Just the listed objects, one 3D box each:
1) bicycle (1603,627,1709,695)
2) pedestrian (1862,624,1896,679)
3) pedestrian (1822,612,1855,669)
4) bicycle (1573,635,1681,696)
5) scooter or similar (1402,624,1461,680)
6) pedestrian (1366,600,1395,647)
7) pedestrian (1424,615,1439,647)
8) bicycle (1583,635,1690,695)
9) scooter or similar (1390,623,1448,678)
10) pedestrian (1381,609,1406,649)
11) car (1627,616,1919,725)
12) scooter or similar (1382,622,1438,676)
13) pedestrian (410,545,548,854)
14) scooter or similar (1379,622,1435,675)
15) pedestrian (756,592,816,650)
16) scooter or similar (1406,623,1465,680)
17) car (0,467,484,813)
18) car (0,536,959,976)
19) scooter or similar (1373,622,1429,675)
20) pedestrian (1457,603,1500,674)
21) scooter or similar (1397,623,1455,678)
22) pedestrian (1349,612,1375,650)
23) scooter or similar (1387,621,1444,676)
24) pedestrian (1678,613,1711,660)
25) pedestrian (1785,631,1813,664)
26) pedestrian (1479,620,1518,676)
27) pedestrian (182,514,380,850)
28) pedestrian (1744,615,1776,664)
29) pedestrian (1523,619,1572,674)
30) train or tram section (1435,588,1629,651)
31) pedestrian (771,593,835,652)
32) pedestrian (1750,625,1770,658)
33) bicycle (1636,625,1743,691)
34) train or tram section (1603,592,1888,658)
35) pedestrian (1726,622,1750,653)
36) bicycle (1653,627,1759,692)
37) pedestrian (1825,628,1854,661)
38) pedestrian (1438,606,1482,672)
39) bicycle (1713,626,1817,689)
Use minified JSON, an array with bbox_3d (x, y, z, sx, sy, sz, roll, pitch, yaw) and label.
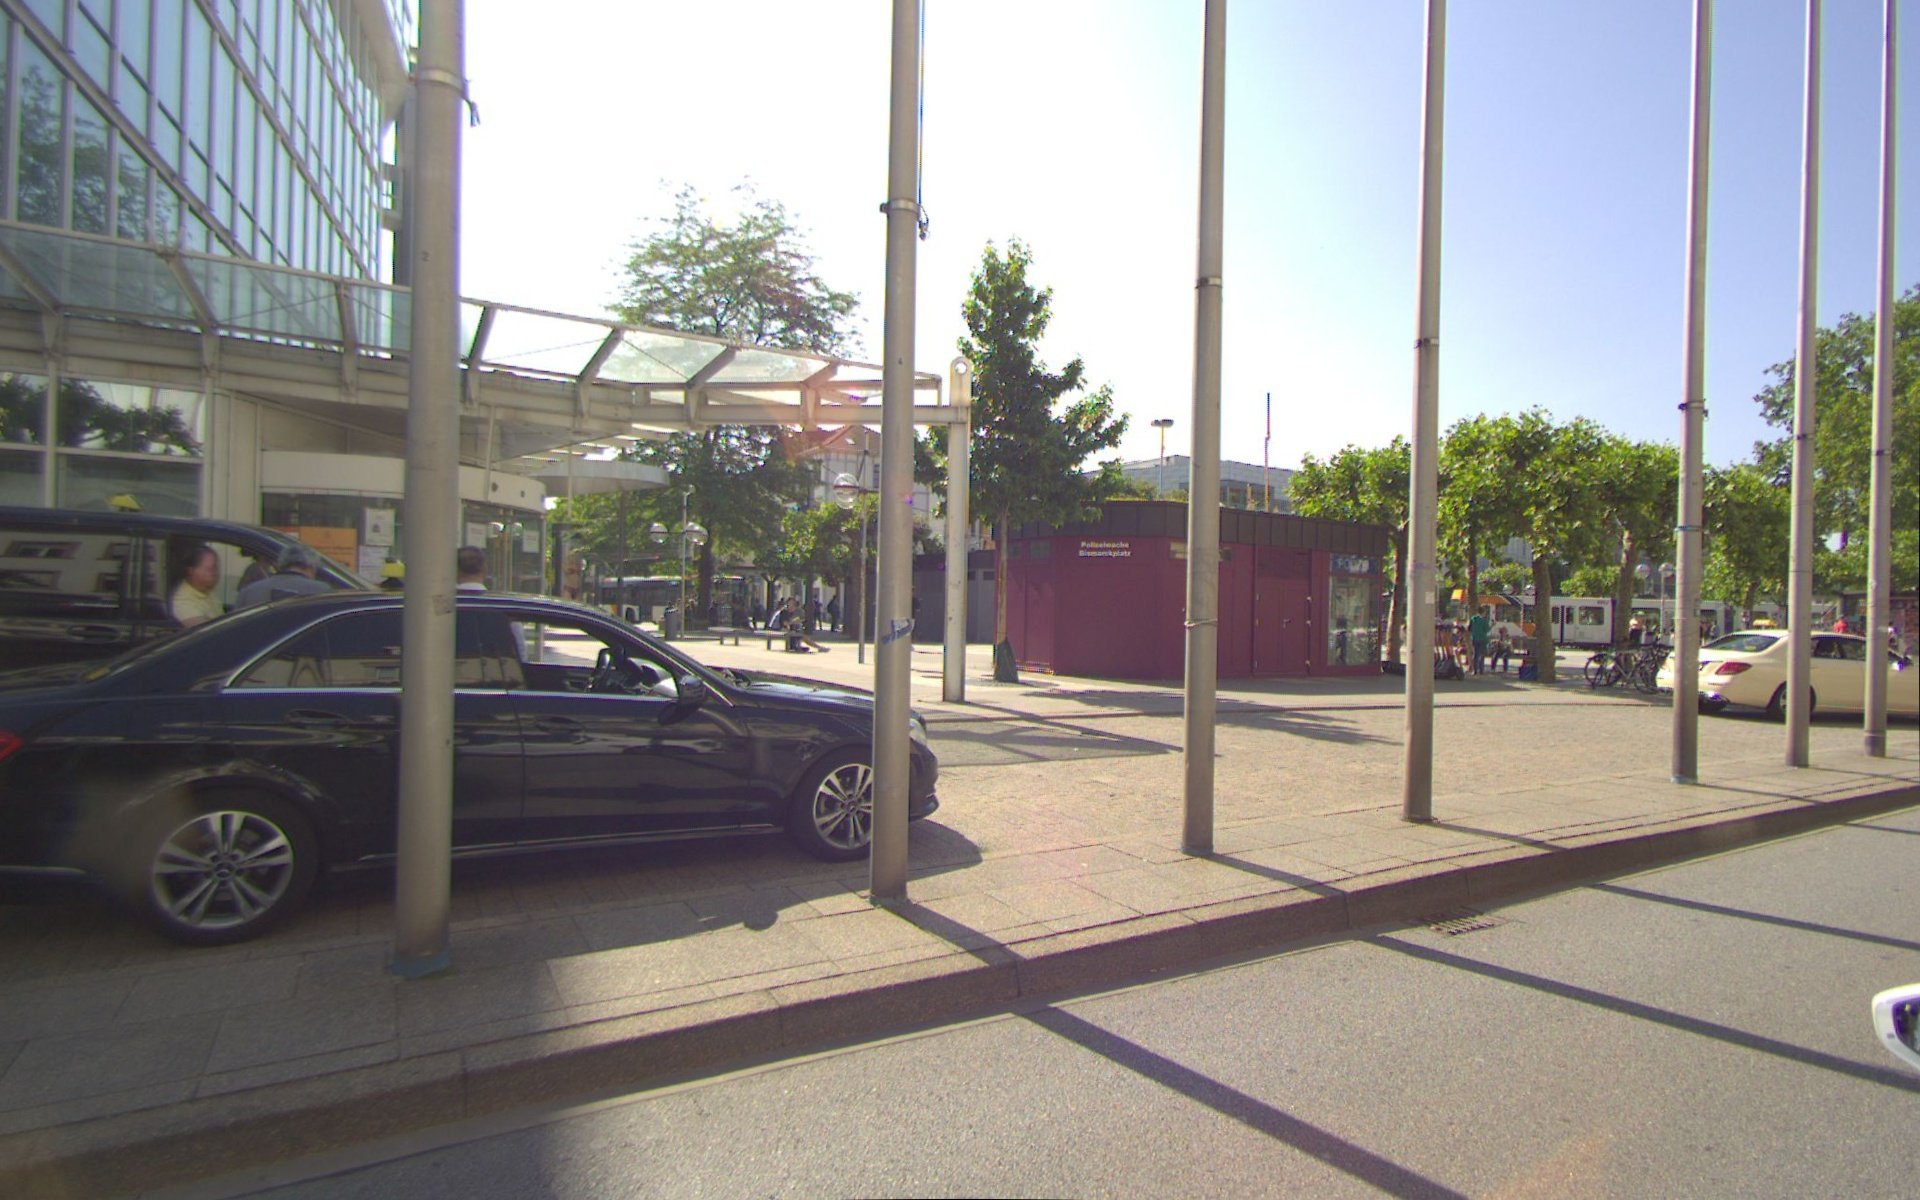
[{"bbox_3d":[14.768,1.262,21.361,0.556,1.326,1.772,1,0,-32],"label":"bicycle"},{"bbox_3d":[30.306,1.686,33.125,0.598,1.762,0.574,2,1,-24],"label":"pedestrian"},{"bbox_3d":[29.989,1.372,34.291,0.651,1.904,0.631,3,1,28],"label":"pedestrian"},{"bbox_3d":[13.716,1.324,20.690,0.556,1.120,1.772,1,0,-32],"label":"bicycle"},{"bbox_3d":[10.632,1.178,22.663,1.280,1.230,0.233,1,0,-11],"label":"scooter or similar"},{"bbox_3d":[16.976,0.954,40.524,0.600,1.822,0.795,3,0,-36],"label":"pedestrian"},{"bbox_3d":[26.953,1.763,57.433,0.594,1.772,0.747,1,0,9],"label":"pedestrian"},{"bbox_3d":[14.227,1.340,21.172,0.556,1.147,1.772,1,0,-32],"label":"bicycle"},{"bbox_3d":[10.578,1.162,23.139,1.280,1.230,0.233,1,0,-11],"label":"scooter or similar"},{"bbox_3d":[19.620,1.293,45.476,0.600,1.772,0.796,2,1,-35],"label":"pedestrian"},{"bbox_3d":[14.288,1.168,16.993,4.768,1.562,1.896,2,0,-3],"label":"car"},{"bbox_3d":[10.598,1.153,23.654,1.280,1.230,0.233,1,0,-11],"label":"scooter or similar"},{"bbox_3d":[-2.963,0.586,6.220,0.528,1.816,0.533,1,0,9],"label":"pedestrian"},{"bbox_3d":[10.642,1.162,23.908,1.280,1.230,0.233,1,0,-11],"label":"scooter or similar"},{"bbox_3d":[-4.365,0.533,25.173,1.245,1.404,0.850,1,0,-30],"label":"pedestrian"},{"bbox_3d":[10.607,1.154,22.405,1.280,1.230,0.233,1,0,-11],"label":"scooter or similar"},{"bbox_3d":[-5.885,0.237,6.852,4.630,2.040,1.823,1,0,-30],"label":"car"},{"bbox_3d":[-2.447,0.608,5.403,4.656,1.621,1.752,1,0,-31],"label":"car"},{"bbox_3d":[10.615,1.164,24.164,1.280,1.230,0.264,1,0,-11],"label":"scooter or similar"},{"bbox_3d":[12.721,0.931,24.639,0.681,1.700,0.666,1,0,-38],"label":"pedestrian"},{"bbox_3d":[10.623,1.156,22.900,1.280,1.230,0.233,1,0,-11],"label":"scooter or similar"},{"bbox_3d":[17.307,1.350,43.276,0.600,1.582,0.796,2,1,-35],"label":"pedestrian"},{"bbox_3d":[10.602,1.128,23.393,1.280,1.230,0.233,1,0,-11],"label":"scooter or similar"},{"bbox_3d":[28.728,1.433,39.282,0.788,1.772,0.606,2,0,2],"label":"pedestrian"},{"bbox_3d":[33.484,1.908,40.082,0.599,1.279,0.613,1,0,6],"label":"pedestrian"},{"bbox_3d":[13.328,1.180,24.858,0.663,1.326,0.683,2,0,43],"label":"pedestrian"},{"bbox_3d":[-3.891,0.441,5.794,0.679,1.816,0.620,1,0,9],"label":"pedestrian"},{"bbox_3d":[26.153,1.291,32.839,0.598,1.553,0.574,2,1,-24],"label":"pedestrian"},{"bbox_3d":[15.309,1.204,26.189,0.884,1.400,0.670,1,0,-21],"label":"pedestrian"},{"bbox_3d":[36.947,1.235,65.203,10.779,3.725,2.623,1,0,5],"label":"train or tram section"},{"bbox_3d":[-3.840,0.541,24.514,1.295,1.404,0.850,1,0,-30],"label":"pedestrian"},{"bbox_3d":[32.530,1.685,40.846,0.602,1.279,0.610,1,0,38],"label":"pedestrian"},{"bbox_3d":[15.906,1.245,21.937,0.656,1.326,1.772,1,0,-32],"label":"bicycle"},{"bbox_3d":[49.745,1.545,63.969,15.233,3.725,2.623,1,0,5],"label":"train or tram section"},{"bbox_3d":[32.983,1.592,42.597,0.600,1.279,0.611,1,0,16],"label":"pedestrian"},{"bbox_3d":[16.664,1.301,22.466,0.656,1.326,1.772,1,0,-32],"label":"bicycle"},{"bbox_3d":[34.652,1.758,39.570,0.599,1.279,0.612,1,0,-4],"label":"pedestrian"},{"bbox_3d":[12.667,0.980,25.451,0.668,1.627,0.795,1,0,-43],"label":"pedestrian"},{"bbox_3d":[19.475,1.375,24.338,0.733,1.366,1.771,1,1,-32],"label":"bicycle"}]
